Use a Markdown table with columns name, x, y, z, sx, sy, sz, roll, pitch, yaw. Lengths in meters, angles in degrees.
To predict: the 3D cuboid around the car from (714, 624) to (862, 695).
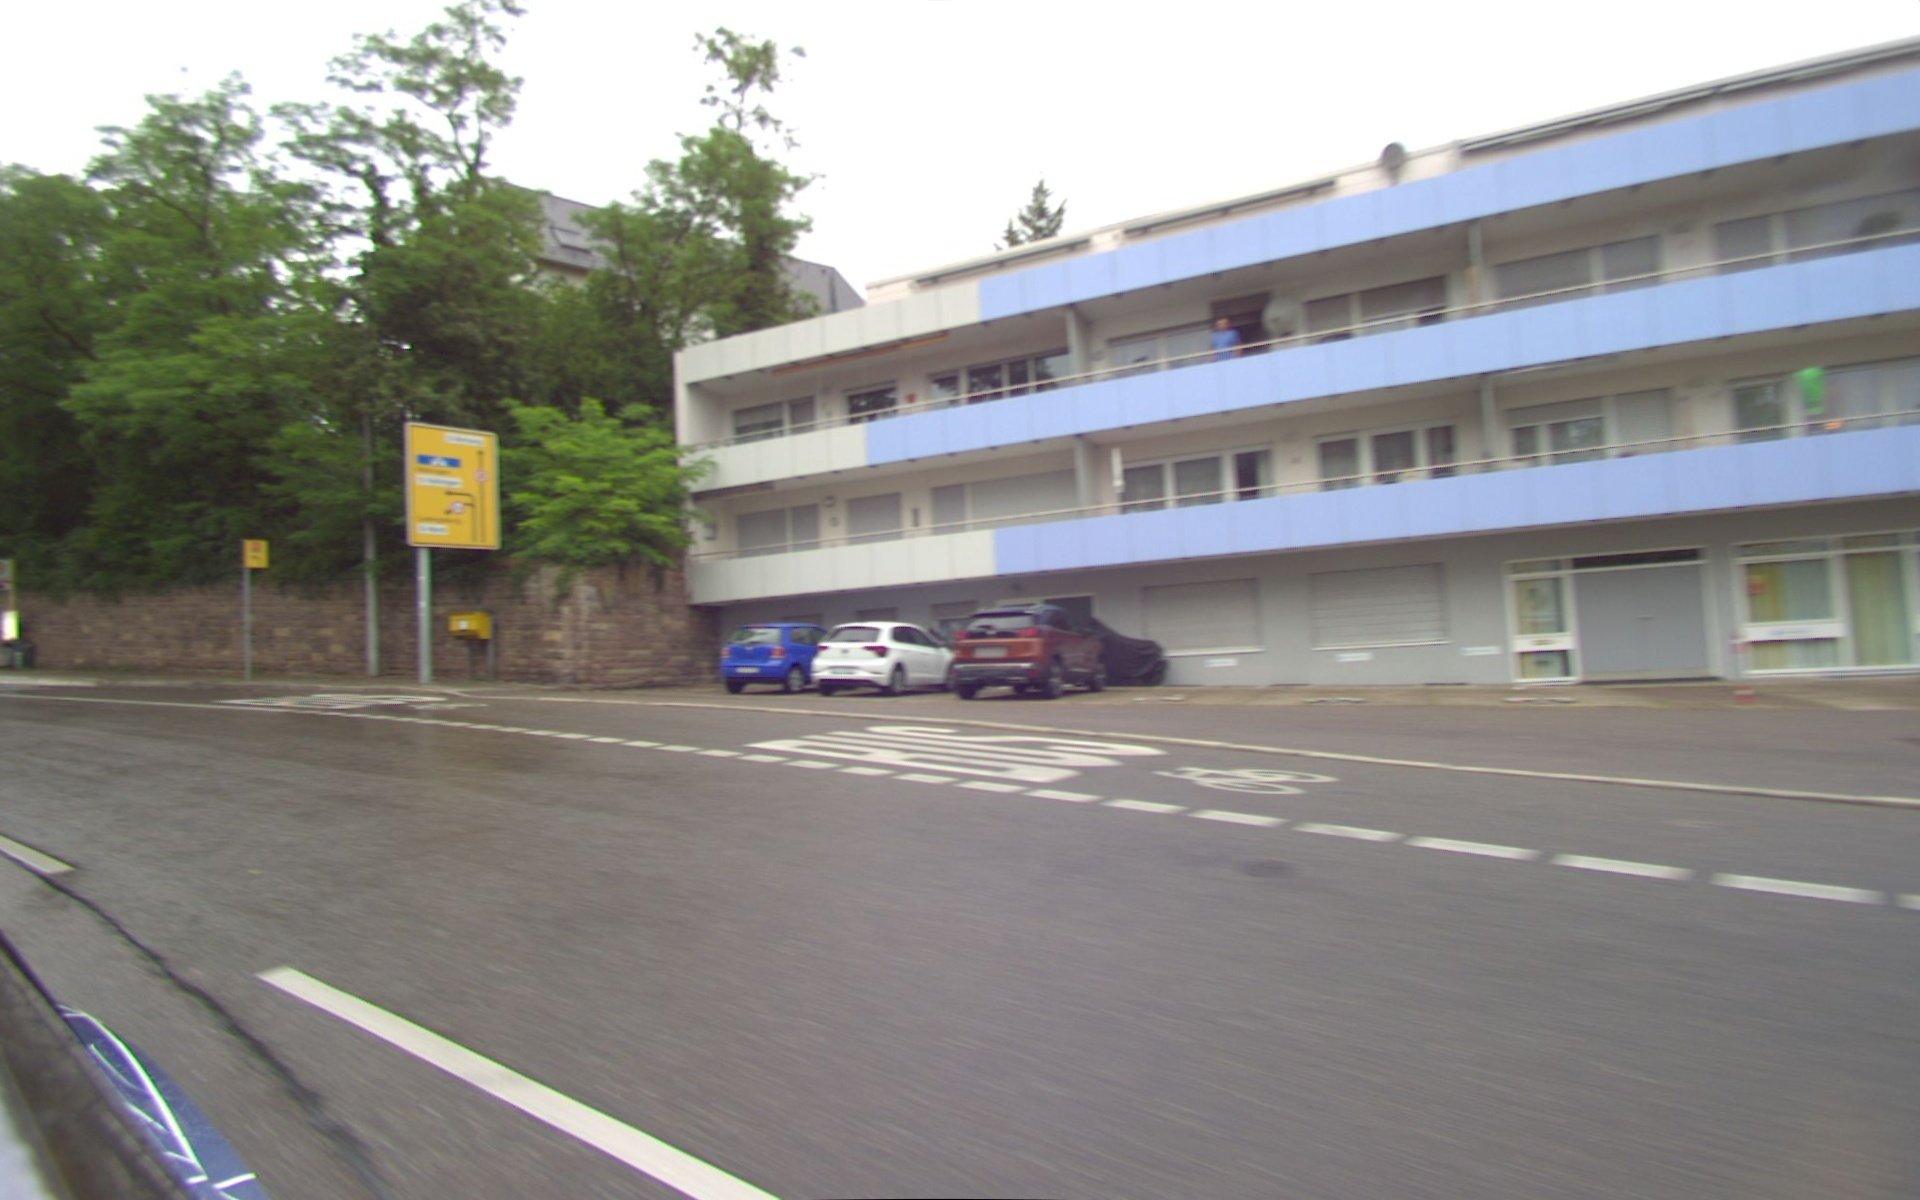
| name | x | y | z | sx | sy | sz | roll | pitch | yaw |
| --- | --- | --- | --- | --- | --- | --- | --- | --- | --- |
| car | -3.588 | 1.248 | 21.680 | 1.625 | 1.401 | 3.417 | -1 | -3 | 21 |

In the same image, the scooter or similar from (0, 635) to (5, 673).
| name | x | y | z | sx | sy | sz | roll | pitch | yaw |
| --- | --- | --- | --- | --- | --- | --- | --- | --- | --- |
| scooter or similar | -30.385 | 1.688 | 31.657 | 1.119 | 1.190 | 0.371 | 0 | 0 | 26 |

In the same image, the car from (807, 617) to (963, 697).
| name | x | y | z | sx | sy | sz | roll | pitch | yaw |
| --- | --- | --- | --- | --- | --- | --- | --- | --- | --- |
| car | -1.425 | 1.159 | 20.385 | 1.698 | 1.456 | 3.412 | -2 | -4 | 25 |

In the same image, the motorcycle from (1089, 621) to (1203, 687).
| name | x | y | z | sx | sy | sz | roll | pitch | yaw |
| --- | --- | --- | --- | --- | --- | --- | --- | --- | --- |
| motorcycle | 3.874 | 1.112 | 21.150 | 2.310 | 1.320 | 0.572 | 0 | 0 | 10 |

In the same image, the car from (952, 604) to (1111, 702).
| name | x | y | z | sx | sy | sz | roll | pitch | yaw |
| --- | --- | --- | --- | --- | --- | --- | --- | --- | --- |
| car | 1.396 | 0.931 | 18.272 | 1.704 | 1.562 | 3.905 | -2 | -3 | 23 |
